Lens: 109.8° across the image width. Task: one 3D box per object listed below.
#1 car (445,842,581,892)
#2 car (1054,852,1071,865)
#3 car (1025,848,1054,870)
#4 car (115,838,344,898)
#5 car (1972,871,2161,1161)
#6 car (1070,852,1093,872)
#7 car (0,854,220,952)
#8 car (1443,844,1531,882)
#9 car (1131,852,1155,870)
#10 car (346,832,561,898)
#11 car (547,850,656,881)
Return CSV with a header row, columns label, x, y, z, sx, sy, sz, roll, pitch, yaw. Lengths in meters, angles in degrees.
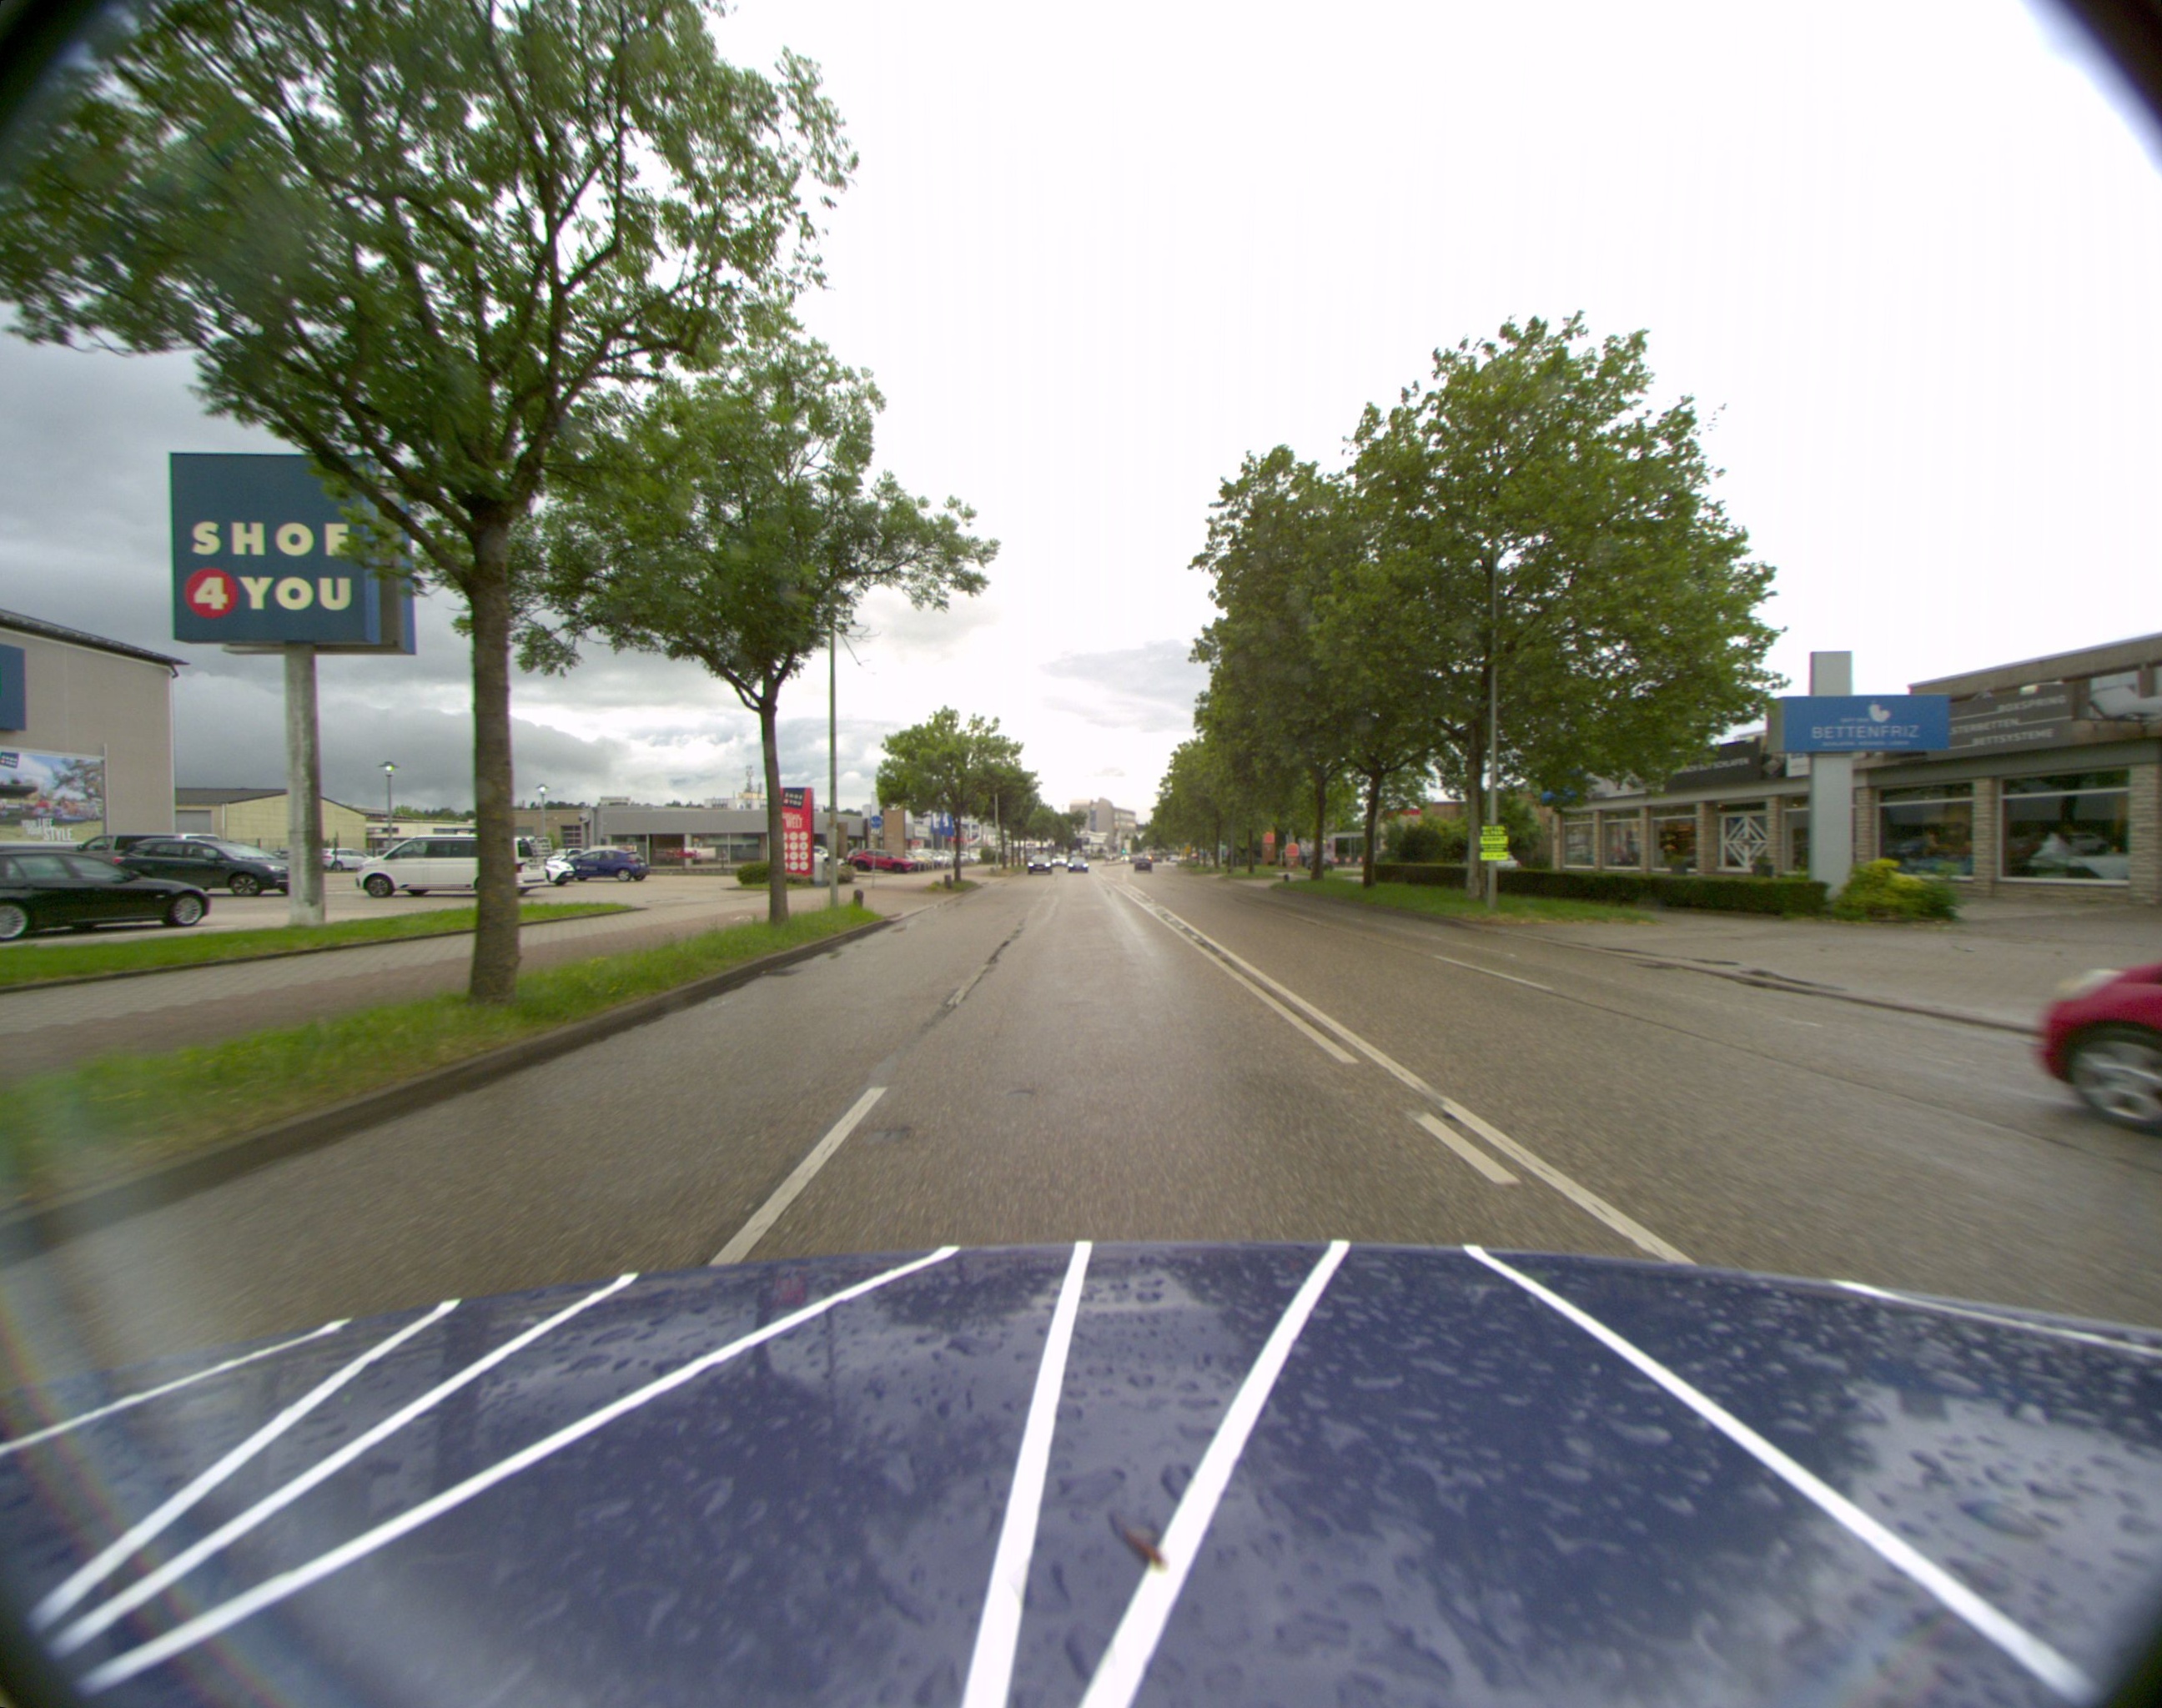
label,x,y,z,sx,sy,sz,roll,pitch,yaw
car,-23.084,0.503,31.021,4.000,1.787,1.821,-2,1,-8
car,-2.393,0.589,99.883,1.998,1.632,4.360,-2,1,1
car,-3.364,0.407,62.536,1.998,1.632,4.360,-2,1,1
car,-26.280,0.421,23.622,4.454,1.752,1.998,0,0,-9
car,6.680,0.917,2.913,1.746,1.525,3.999,1,1,-1
car,0.041,0.711,70.710,1.998,1.632,4.360,-2,1,1
car,-17.046,0.722,12.376,1.755,1.405,4.133,0,1,-9
car,17.588,0.353,33.108,1.746,1.525,4.000,1,1,2
car,6.046,0.660,74.485,1.998,1.632,4.360,0,0,1
car,-20.014,0.343,24.492,4.966,2.002,1.998,1,1,-11
car,-22.423,0.533,35.654,4.001,1.390,1.675,0,0,-11
